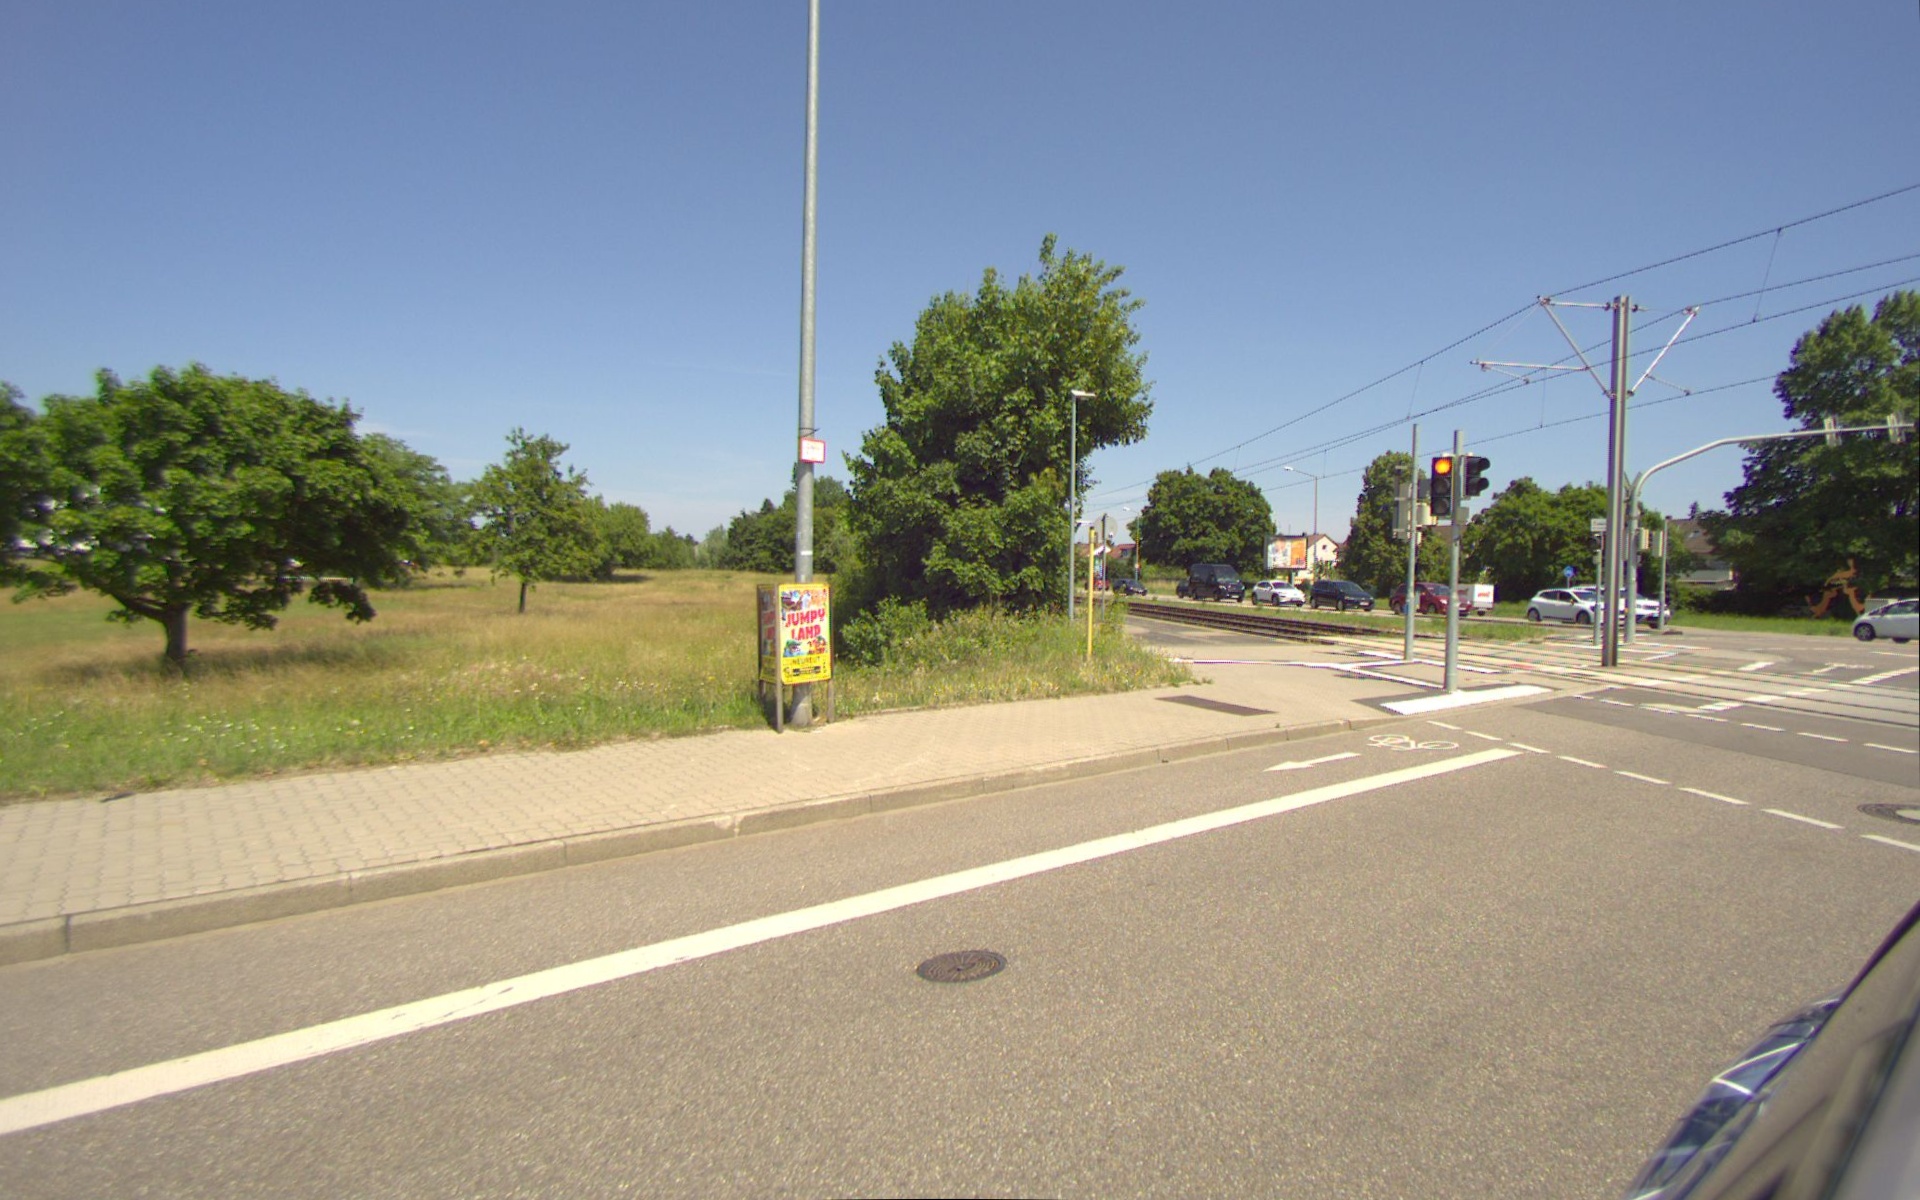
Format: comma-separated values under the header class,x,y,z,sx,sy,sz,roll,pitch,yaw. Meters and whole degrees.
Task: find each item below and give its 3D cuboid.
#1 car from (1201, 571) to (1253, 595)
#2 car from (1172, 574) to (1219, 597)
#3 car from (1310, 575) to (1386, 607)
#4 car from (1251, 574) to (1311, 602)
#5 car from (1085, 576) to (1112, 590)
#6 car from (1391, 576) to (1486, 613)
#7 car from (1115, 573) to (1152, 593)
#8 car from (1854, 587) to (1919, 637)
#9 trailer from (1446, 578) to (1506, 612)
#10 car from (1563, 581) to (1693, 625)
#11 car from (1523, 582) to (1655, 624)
class,x,y,z,sx,sy,sz,roll,pitch,yaw
car,18.584,-1.219,70.642,1.837,1.595,4.419,2,1,-8
car,17.561,-1.078,75.623,1.837,1.595,4.419,2,1,-8
car,21.118,-0.513,55.288,1.837,1.595,4.419,2,1,-8
car,19.682,-0.759,62.281,1.695,1.595,4.419,2,1,-8
car,15.194,-1.877,111.391,1.811,1.477,4.420,1,1,-8
car,22.525,-0.306,47.833,1.837,1.595,4.419,2,1,-8
car,14.922,-1.462,87.329,1.837,1.595,4.419,2,1,-8
car,31.482,0.434,32.495,1.696,1.523,3.906,2,2,-10
trailer,27.913,-0.293,54.836,1.380,1.675,2.943,2,1,-10
car,26.912,0.069,40.981,1.837,1.595,4.419,2,1,-8
car,24.053,0.077,38.943,1.837,1.406,4.419,2,1,-8
